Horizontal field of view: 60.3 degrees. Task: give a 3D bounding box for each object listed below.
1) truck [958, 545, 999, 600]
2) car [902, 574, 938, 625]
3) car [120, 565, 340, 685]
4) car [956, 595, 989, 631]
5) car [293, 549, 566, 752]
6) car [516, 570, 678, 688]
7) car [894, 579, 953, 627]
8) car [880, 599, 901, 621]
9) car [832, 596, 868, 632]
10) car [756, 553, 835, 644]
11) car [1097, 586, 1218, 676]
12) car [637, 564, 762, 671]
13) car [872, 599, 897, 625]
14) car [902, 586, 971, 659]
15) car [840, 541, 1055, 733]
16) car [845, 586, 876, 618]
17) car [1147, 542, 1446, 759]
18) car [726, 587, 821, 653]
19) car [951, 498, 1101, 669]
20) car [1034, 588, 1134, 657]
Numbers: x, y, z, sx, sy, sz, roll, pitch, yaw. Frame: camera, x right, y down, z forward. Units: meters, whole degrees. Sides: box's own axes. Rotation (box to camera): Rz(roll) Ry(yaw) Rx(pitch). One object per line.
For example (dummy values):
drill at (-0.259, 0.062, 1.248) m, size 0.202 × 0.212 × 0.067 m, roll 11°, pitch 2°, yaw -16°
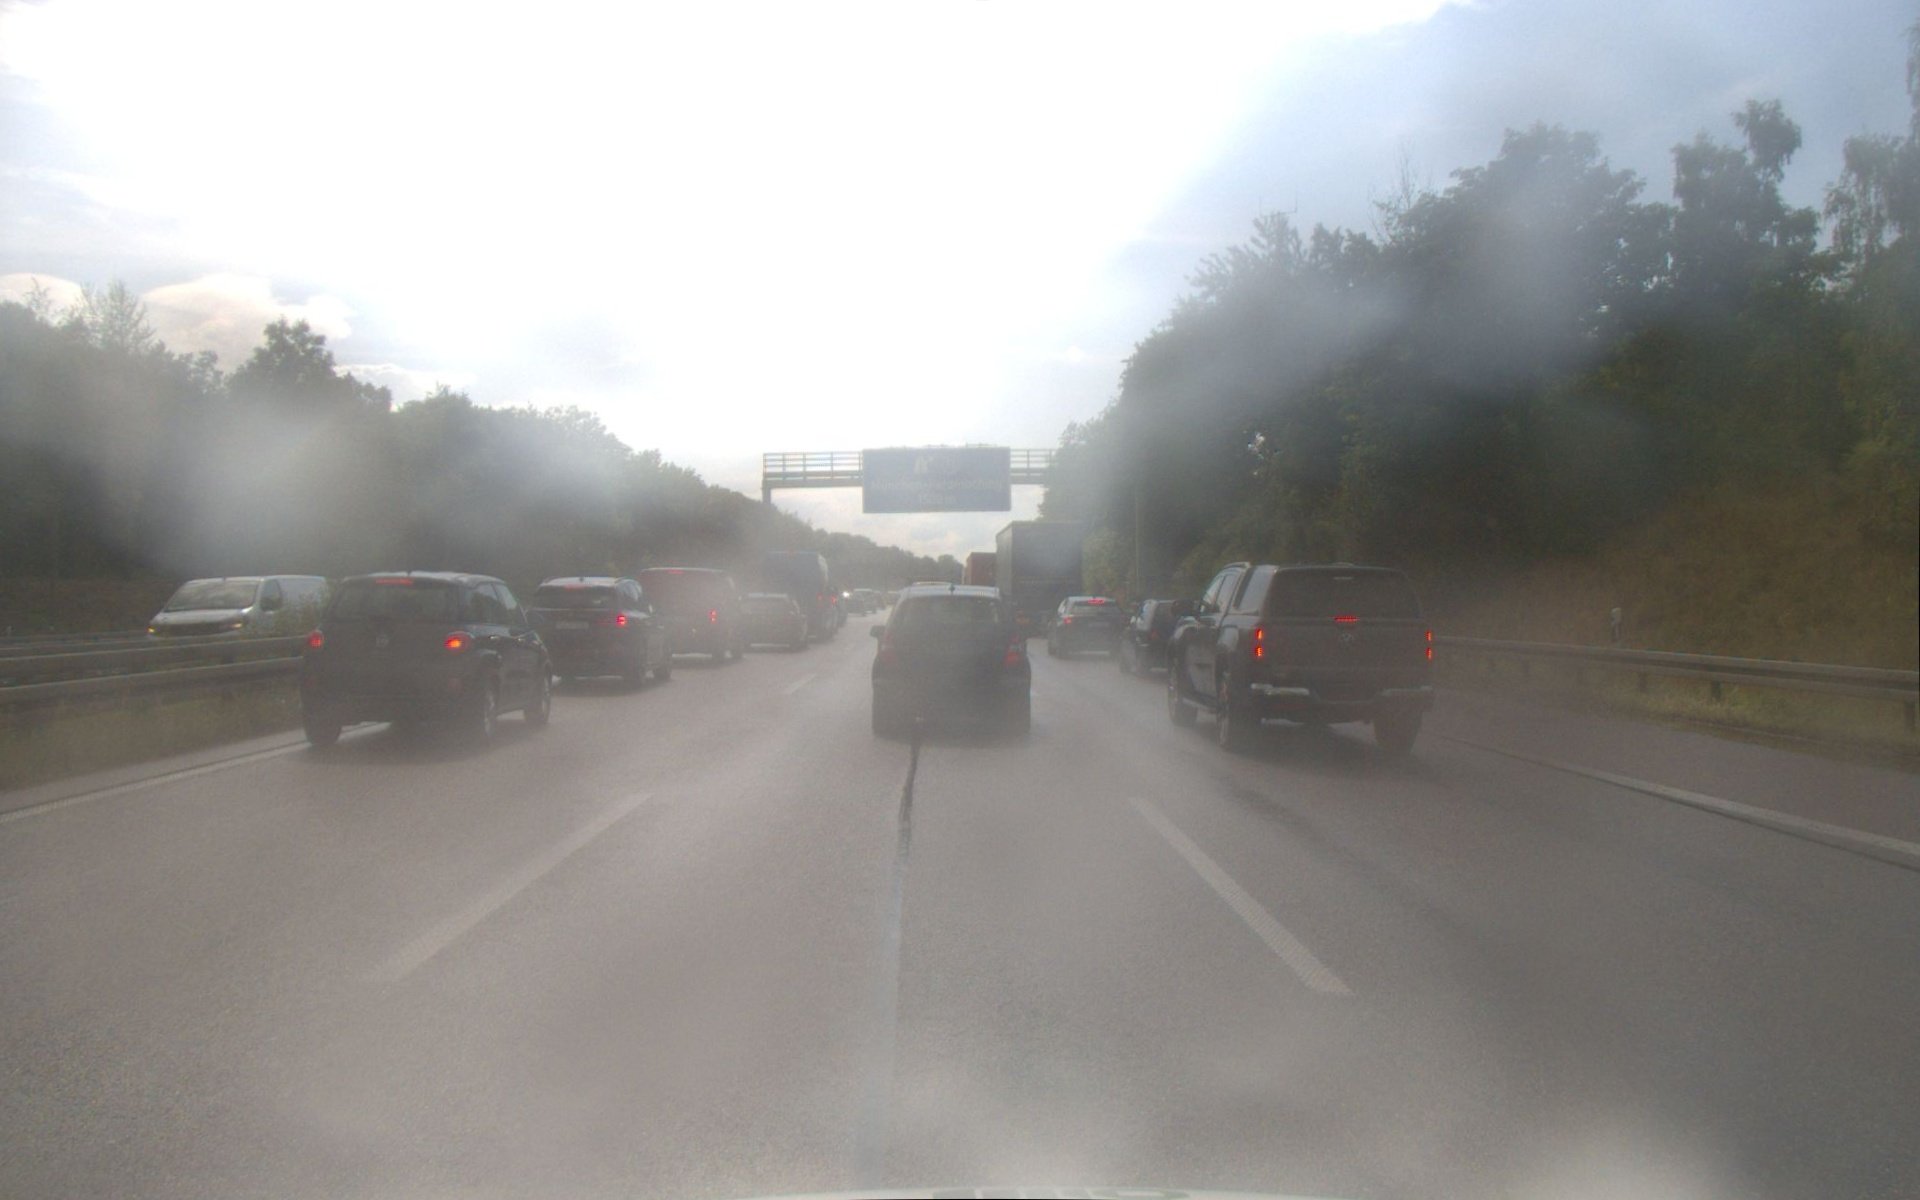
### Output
truck at (1.256, -1.868, 114.750) m, size 2.719 × 3.695 × 5.915 m, roll 1°, pitch 0°, yaw -1°
car at (-2.250, -0.017, 94.740) m, size 1.953 × 2.794 × 5.258 m, roll 1°, pitch 0°, yaw -1°
car at (-13.842, 0.452, 31.755) m, size 2.010 × 2.082 × 5.207 m, roll 1°, pitch 0°, yaw -2°
car at (0.745, 0.791, 101.701) m, size 1.953 × 2.152 × 4.888 m, roll 1°, pitch 0°, yaw -1°
car at (-5.313, 0.469, 17.088) m, size 1.658 × 1.836 × 3.974 m, roll 1°, pitch 0°, yaw -2°
car at (-5.647, 0.425, 26.260) m, size 1.871 × 1.665 × 4.612 m, roll -1°, pitch 0°, yaw -5°
car at (-1.278, 0.115, 56.291) m, size 1.828 × 1.542 × 3.973 m, roll 1°, pitch 0°, yaw -3°
car at (-6.977, 0.968, 165.955) m, size 1.953 × 2.152 × 4.888 m, roll 1°, pitch 0°, yaw -1°
car at (-6.779, 0.831, 102.207) m, size 1.953 × 2.152 × 4.888 m, roll 1°, pitch 0°, yaw -1°
car at (-5.068, -0.032, 51.602) m, size 1.953 × 2.661 × 5.258 m, roll 1°, pitch 0°, yaw -1°
car at (3.586, 0.547, 30.607) m, size 1.559 × 1.542 × 3.973 m, roll 1°, pitch 0°, yaw -3°
car at (-5.445, 0.352, 35.186) m, size 1.938 × 2.090 × 4.755 m, roll 1°, pitch 0°, yaw -1°
car at (-6.399, 1.015, 140.120) m, size 1.953 × 2.152 × 4.888 m, roll 1°, pitch 0°, yaw -1°
car at (-0.658, 0.587, 44.012) m, size 1.659 × 1.836 × 3.973 m, roll 1°, pitch 0°, yaw -3°
car at (-0.235, 0.397, 19.688) m, size 2.229 × 1.989 × 4.818 m, roll 1°, pitch 0°, yaw -3°
car at (-6.923, 0.125, 115.646) m, size 1.953 × 2.152 × 4.888 m, roll 1°, pitch 0°, yaw -1°
car at (3.374, 0.468, 17.839) m, size 1.902 × 1.952 × 5.650 m, roll 1°, pitch 0°, yaw -2°
car at (-4.773, 0.509, 42.964) m, size 1.953 × 1.592 × 4.755 m, roll 1°, pitch 0°, yaw -1°
car at (2.272, -0.545, 66.244) m, size 4.316 × 5.932 × 16.806 m, roll 1°, pitch 0°, yaw -3°
car at (2.883, 0.511, 39.217) m, size 1.828 × 1.542 × 3.973 m, roll 1°, pitch 0°, yaw -3°
